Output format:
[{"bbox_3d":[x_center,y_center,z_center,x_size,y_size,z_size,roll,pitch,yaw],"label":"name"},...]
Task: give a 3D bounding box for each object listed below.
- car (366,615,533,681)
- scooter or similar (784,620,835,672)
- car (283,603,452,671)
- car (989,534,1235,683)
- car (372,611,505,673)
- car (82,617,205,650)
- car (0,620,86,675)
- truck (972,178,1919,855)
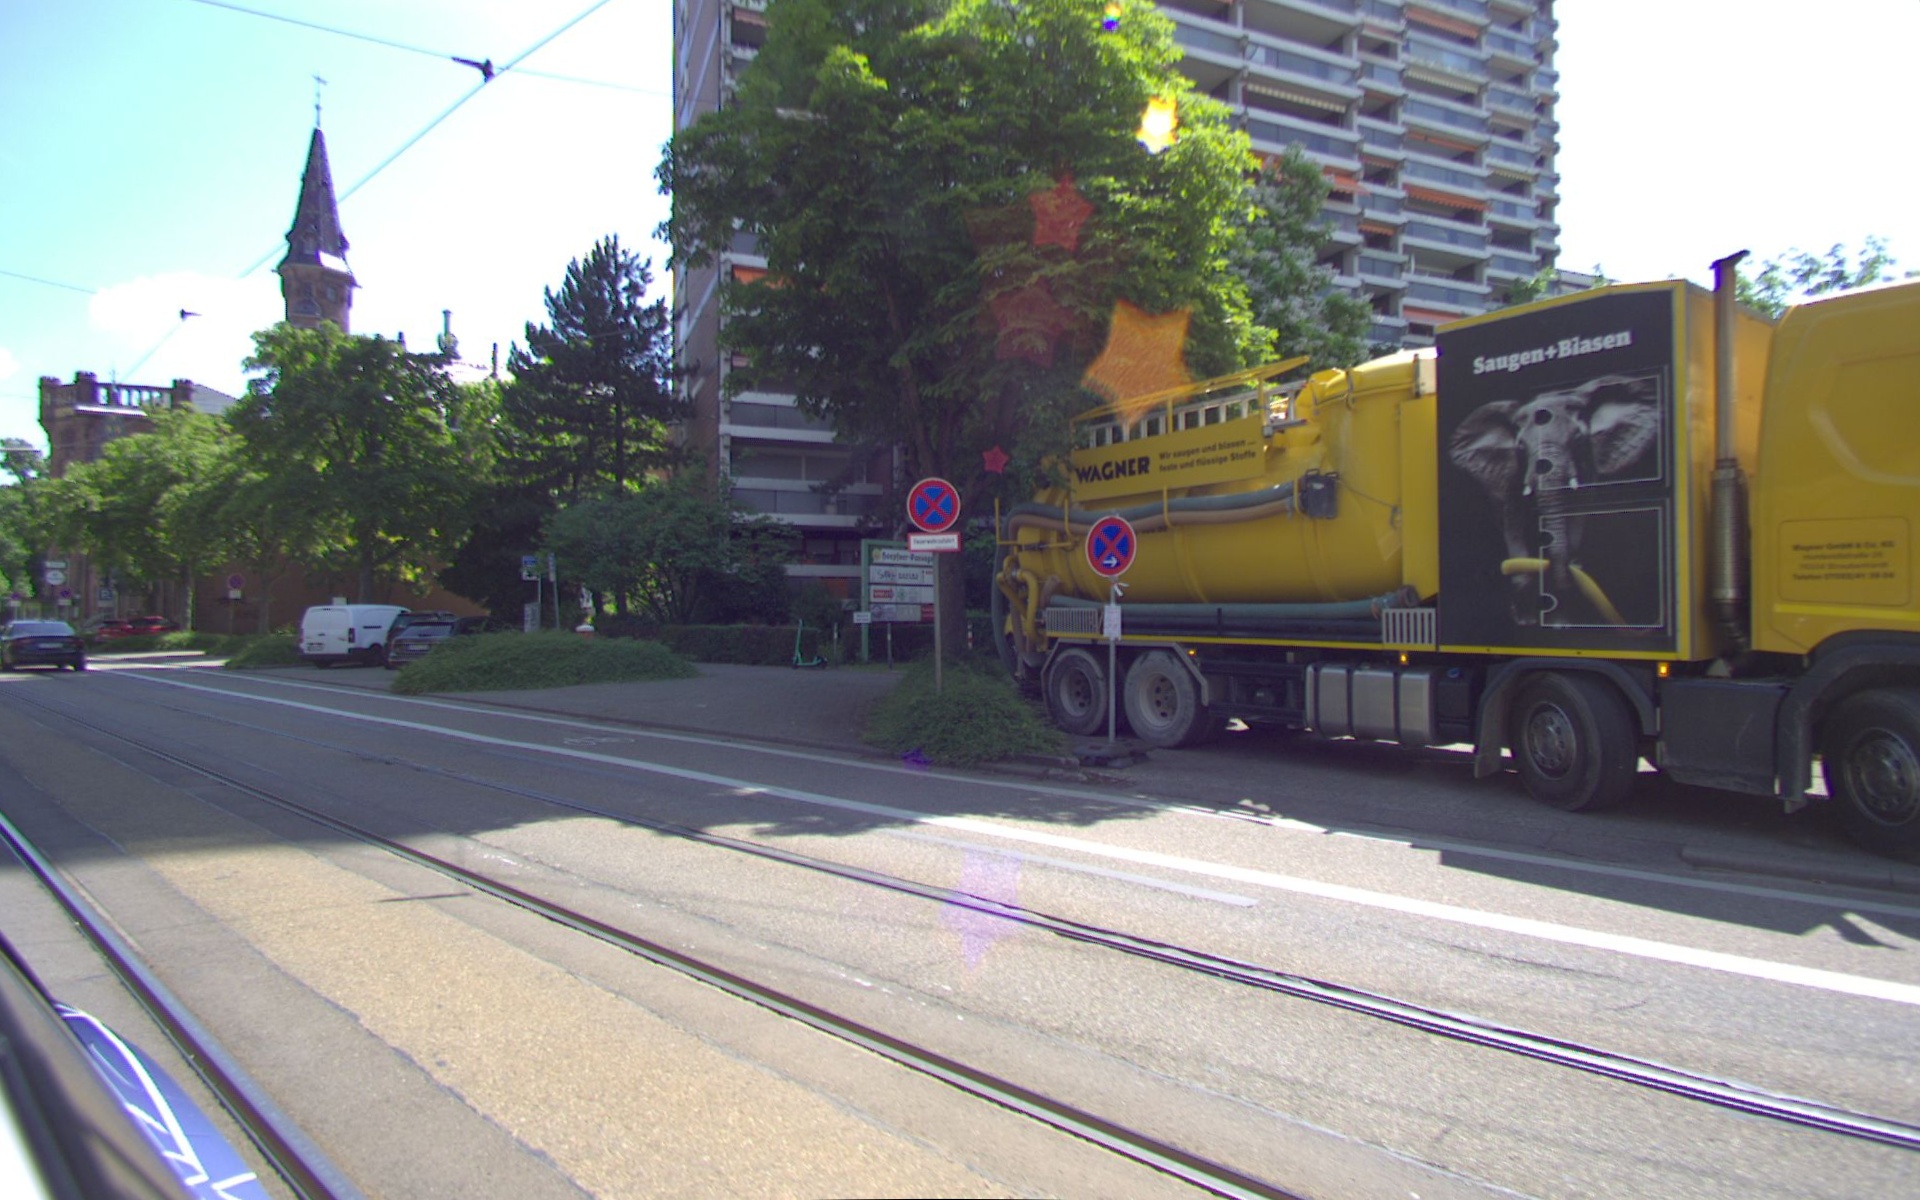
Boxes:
[{"bbox_3d":[-12.477,1.118,25.098,1.749,1.405,4.444,-2,0,2],"label":"car"},{"bbox_3d":[-3.404,1.024,22.877,0.379,1.132,1.370,-1,0,-44],"label":"scooter or similar"},{"bbox_3d":[-17.345,1.029,29.906,1.879,1.804,4.537,-2,0,8],"label":"car"},{"bbox_3d":[2.815,0.131,21.036,2.147,2.585,6.746,0,0,-19],"label":"car"},{"bbox_3d":[-14.627,1.121,28.632,1.747,1.544,3.951,-2,0,-1],"label":"car"},{"bbox_3d":[-41.619,1.688,51.747,1.981,1.578,4.761,-1,-1,12],"label":"car"},{"bbox_3d":[-25.976,1.289,28.165,4.282,1.408,1.757,-2,-1,39],"label":"car"},{"bbox_3d":[4.427,-0.473,9.692,2.679,3.870,10.991,-1,0,-35],"label":"truck"}]
